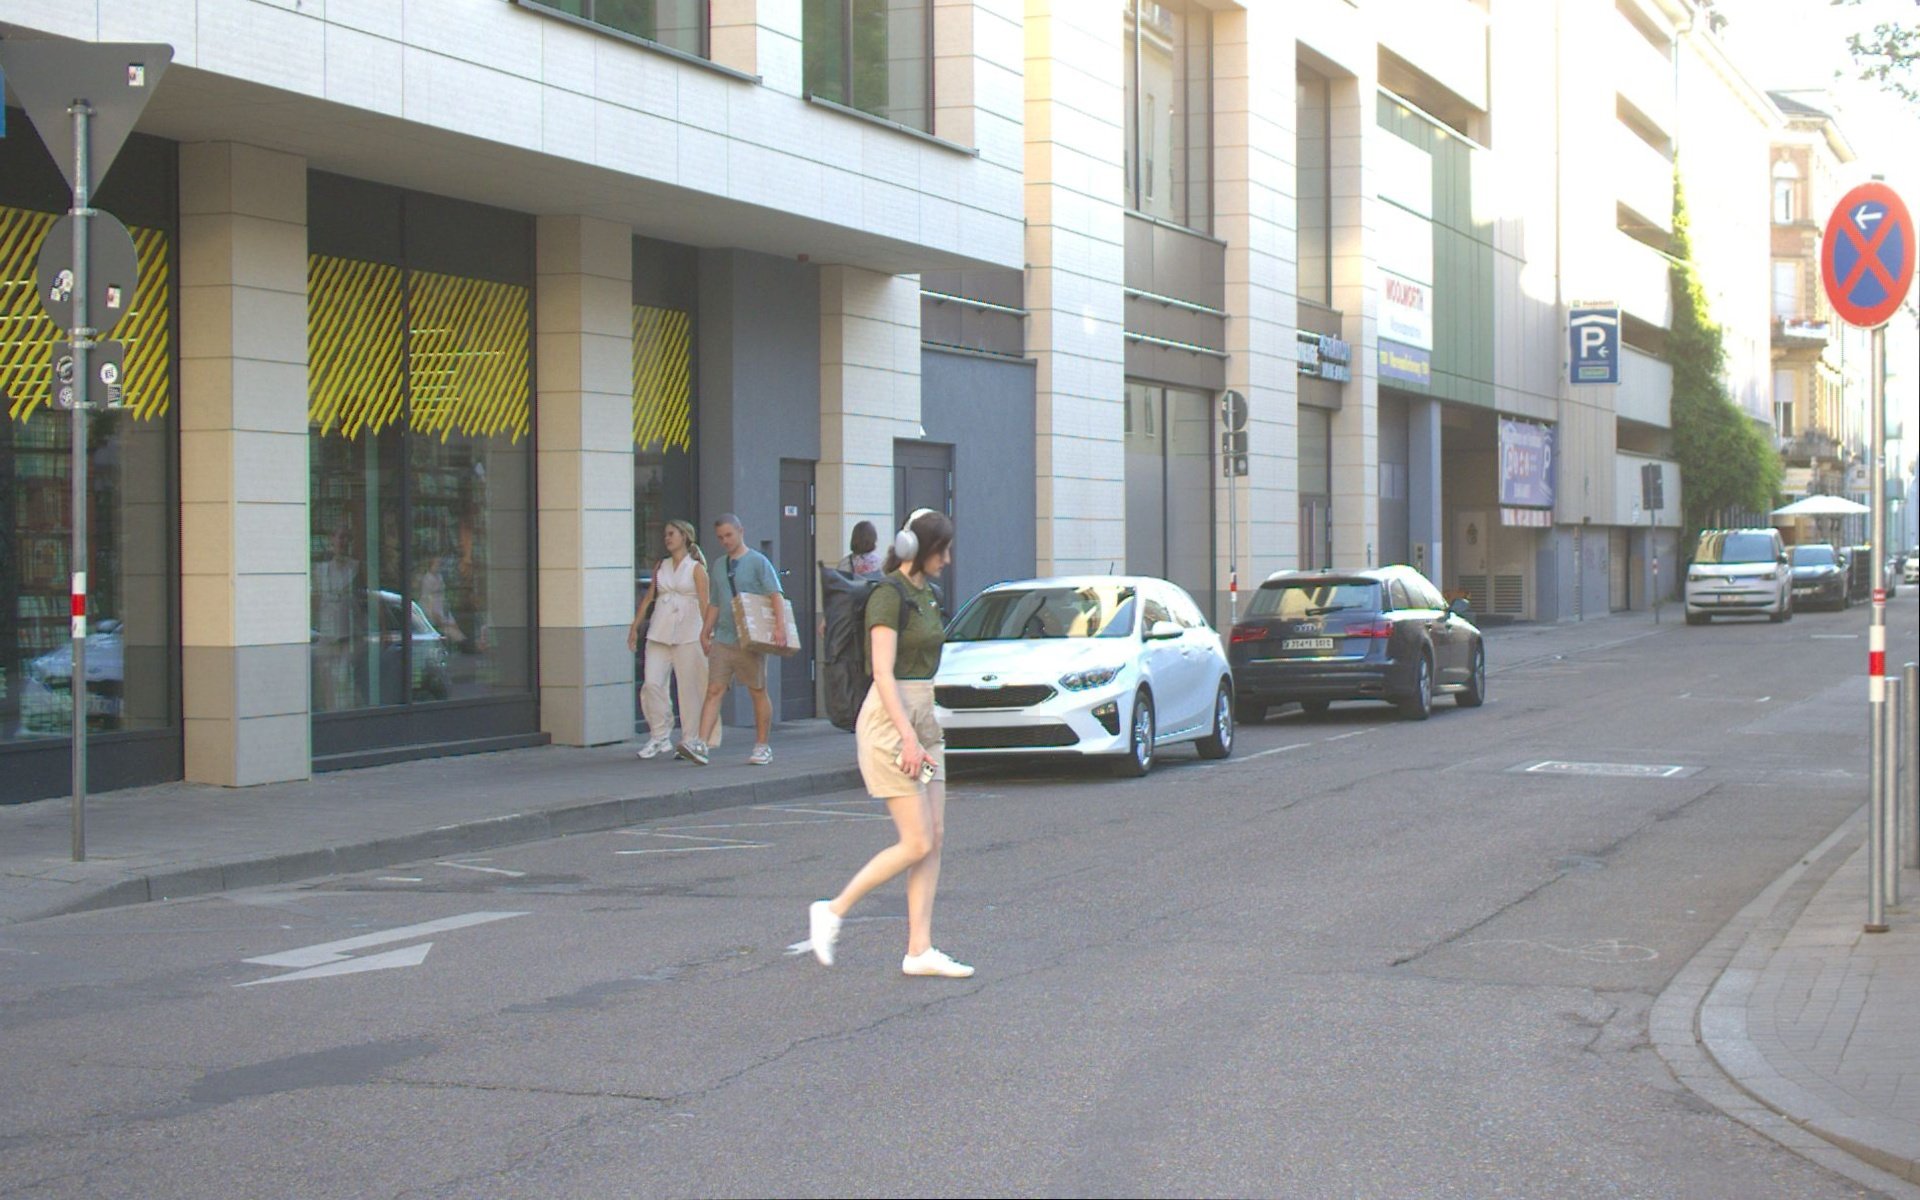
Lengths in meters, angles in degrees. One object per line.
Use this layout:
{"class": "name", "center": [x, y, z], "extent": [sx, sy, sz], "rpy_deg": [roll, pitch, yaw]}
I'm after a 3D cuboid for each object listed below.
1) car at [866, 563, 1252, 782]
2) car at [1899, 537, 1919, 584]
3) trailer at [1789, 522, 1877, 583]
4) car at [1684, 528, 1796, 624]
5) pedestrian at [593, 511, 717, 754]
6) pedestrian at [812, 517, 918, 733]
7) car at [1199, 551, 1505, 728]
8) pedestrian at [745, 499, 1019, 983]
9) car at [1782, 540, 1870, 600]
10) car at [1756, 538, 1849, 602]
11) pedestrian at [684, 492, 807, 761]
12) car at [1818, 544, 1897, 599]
{"class": "car", "center": [0.833, 0.465, 25.467], "extent": [1.779, 1.448, 4.227], "rpy_deg": [0, 1, 17]}
{"class": "car", "center": [35.618, -1.436, 126.146], "extent": [1.995, 1.678, 3.996], "rpy_deg": [0, 0, 19]}
{"class": "trailer", "center": [22.735, -1.216, 89.468], "extent": [1.995, 1.552, 3.997], "rpy_deg": [0, 0, 18]}
{"class": "car", "center": [15.941, -0.514, 70.128], "extent": [1.885, 1.905, 4.744], "rpy_deg": [0, 1, 17]}
{"class": "pedestrian", "center": [-2.127, 0.217, 24.030], "extent": [0.672, 1.669, 0.647], "rpy_deg": [0, 1, 16]}
{"class": "pedestrian", "center": [-0.775, 0.196, 28.158], "extent": [0.672, 1.738, 0.647], "rpy_deg": [0, 1, 19]}
{"class": "car", "center": [3.939, 0.324, 33.798], "extent": [1.885, 1.592, 4.684], "rpy_deg": [0, 1, 21]}
{"class": "pedestrian", "center": [-0.295, 0.490, 12.714], "extent": [0.635, 1.717, 0.845], "rpy_deg": [-1, 1, -37]}
{"class": "car", "center": [21.502, -0.757, 85.299], "extent": [1.885, 1.448, 3.997], "rpy_deg": [0, 1, 17]}
{"class": "car", "center": [19.824, -0.721, 80.781], "extent": [1.885, 1.448, 3.997], "rpy_deg": [0, 1, 17]}
{"class": "pedestrian", "center": [-1.480, 0.176, 23.789], "extent": [0.672, 1.830, 0.647], "rpy_deg": [0, 1, 16]}
{"class": "car", "center": [24.503, -0.787, 93.771], "extent": [1.885, 1.448, 3.997], "rpy_deg": [0, 1, 17]}
